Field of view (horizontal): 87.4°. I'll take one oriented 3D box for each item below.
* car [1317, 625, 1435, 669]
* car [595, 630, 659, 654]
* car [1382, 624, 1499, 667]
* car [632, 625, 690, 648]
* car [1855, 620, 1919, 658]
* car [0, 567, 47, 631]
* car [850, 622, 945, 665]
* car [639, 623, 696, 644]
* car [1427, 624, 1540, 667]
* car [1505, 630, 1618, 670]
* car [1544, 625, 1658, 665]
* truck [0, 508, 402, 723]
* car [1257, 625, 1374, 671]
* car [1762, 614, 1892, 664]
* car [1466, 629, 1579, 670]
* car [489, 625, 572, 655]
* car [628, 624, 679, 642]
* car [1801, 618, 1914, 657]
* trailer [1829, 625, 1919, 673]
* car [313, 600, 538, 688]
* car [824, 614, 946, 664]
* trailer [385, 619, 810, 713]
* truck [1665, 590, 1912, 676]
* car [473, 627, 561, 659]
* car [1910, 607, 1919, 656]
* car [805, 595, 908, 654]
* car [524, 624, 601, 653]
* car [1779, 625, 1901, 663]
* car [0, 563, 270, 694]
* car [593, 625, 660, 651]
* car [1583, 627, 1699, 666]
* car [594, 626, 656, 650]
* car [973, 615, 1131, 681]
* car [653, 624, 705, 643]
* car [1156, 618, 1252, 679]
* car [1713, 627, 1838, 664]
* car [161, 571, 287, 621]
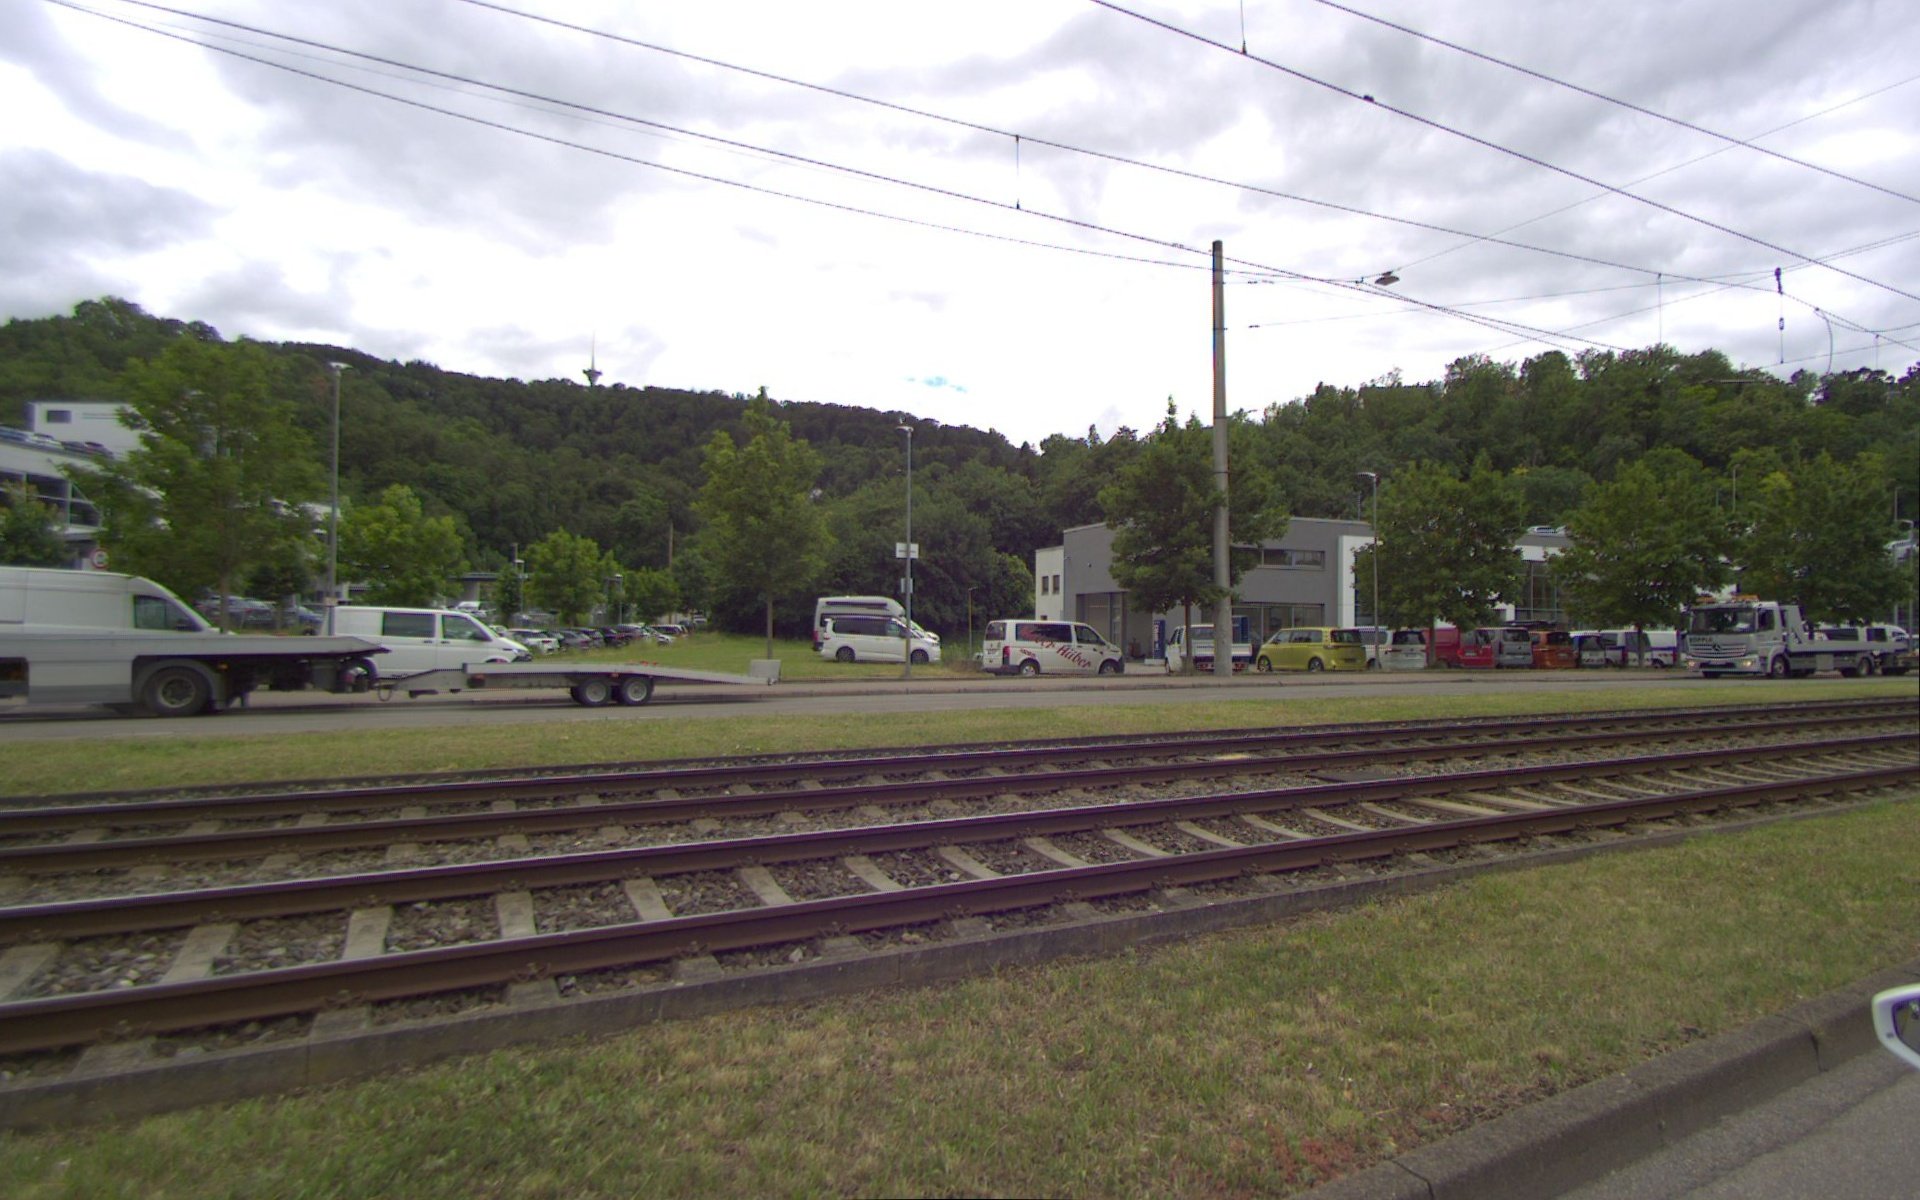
[{"bbox_3d":[16.555,1.827,40.244,2.086,1.639,4.344,1,-1,-17],"label":"car"},{"bbox_3d":[-20.362,2.567,61.496,3.655,1.455,1.671,1,-1,-17],"label":"car"},{"bbox_3d":[19.535,1.811,41.025,2.030,1.639,4.176,1,-1,-17],"label":"car"},{"bbox_3d":[-20.177,2.461,67.762,3.661,1.455,1.668,1,-1,-22],"label":"car"},{"bbox_3d":[51.720,2.096,54.446,1.975,2.037,4.357,1,-1,-22],"label":"car"},{"bbox_3d":[-32.452,-0.037,32.519,3.921,2.040,2.000,1,-1,1],"label":"car"},{"bbox_3d":[-3.267,2.274,53.305,4.763,2.156,2.001,1,-1,3],"label":"car"},{"bbox_3d":[-20.753,2.395,71.303,3.646,1.455,1.675,1,-1,-6],"label":"car"},{"bbox_3d":[21.895,1.863,42.211,2.015,1.686,3.985,1,-1,-17],"label":"car"},{"bbox_3d":[26.221,2.142,43.928,1.968,1.639,3.985,1,-1,-17],"label":"car"},{"bbox_3d":[28.387,1.955,44.638,1.968,1.639,3.985,1,-1,-17],"label":"car"},{"bbox_3d":[-13.616,0.295,15.661,8.340,3.020,2.856,1,-3,-25],"label":"truck"},{"bbox_3d":[13.719,1.824,39.043,2.120,1.639,4.335,1,-1,-17],"label":"car"},{"bbox_3d":[42.927,1.904,49.858,2.091,2.342,4.494,1,-1,-18],"label":"car"},{"bbox_3d":[24.019,2.097,43.073,1.968,1.639,3.985,1,-1,-17],"label":"car"},{"bbox_3d":[-21.671,2.010,50.796,3.655,1.455,1.671,1,-1,-17],"label":"car"},{"bbox_3d":[-24.631,2.644,80.837,3.646,1.455,1.675,1,-1,-6],"label":"car"},{"bbox_3d":[63.343,2.620,71.008,5.867,2.636,1.993,-1,-1,42],"label":"car"},{"bbox_3d":[36.746,1.875,38.432,6.846,1.720,2.379,1,-3,-22],"label":"trailer"},{"bbox_3d":[-13.134,1.073,25.019,4.744,2.040,1.987,1,-1,-26],"label":"car"},{"bbox_3d":[-3.139,1.640,42.604,5.034,2.040,2.000,1,-1,-3],"label":"car"},{"bbox_3d":[-6.670,1.202,19.080,7.128,1.514,2.750,1,-4,-26],"label":"trailer"},{"bbox_3d":[29.349,1.207,35.524,9.085,2.777,2.751,1,-3,-22],"label":"truck"},{"bbox_3d":[-21.282,2.059,48.392,3.655,1.455,1.671,1,-1,-17],"label":"car"},{"bbox_3d":[55.856,1.751,55.138,2.085,2.734,4.955,1,-1,-22],"label":"car"},{"bbox_3d":[-5.026,1.201,49.202,4.765,2.741,2.000,1,-1,0],"label":"car"},{"bbox_3d":[-21.116,2.044,53.480,3.655,1.455,1.671,1,-1,-17],"label":"car"},{"bbox_3d":[45.082,2.214,51.596,1.972,1.869,4.363,1,-1,-18],"label":"car"},{"bbox_3d":[-18.436,0.602,21.640,5.810,2.595,1.979,1,-1,-38],"label":"car"},{"bbox_3d":[-19.761,2.241,59.647,3.655,1.455,1.671,1,-1,-17],"label":"car"},{"bbox_3d":[30.669,2.067,45.365,1.968,1.639,3.985,1,-1,-17],"label":"car"},{"bbox_3d":[-21.235,2.398,63.870,3.655,1.455,1.671,1,-1,-17],"label":"car"},{"bbox_3d":[3.013,1.547,32.752,4.794,2.040,1.988,1,-1,-25],"label":"car"},{"bbox_3d":[-21.710,2.600,77.660,3.646,1.455,1.675,1,-1,-6],"label":"car"},{"bbox_3d":[8.803,1.718,36.777,2.101,2.034,5.716,0,-2,0],"label":"car"},{"bbox_3d":[40.120,2.205,49.540,2.002,1.711,4.357,1,-1,-22],"label":"car"},{"bbox_3d":[-31.744,-0.151,43.412,3.921,2.040,2.000,1,-1,1],"label":"car"}]
